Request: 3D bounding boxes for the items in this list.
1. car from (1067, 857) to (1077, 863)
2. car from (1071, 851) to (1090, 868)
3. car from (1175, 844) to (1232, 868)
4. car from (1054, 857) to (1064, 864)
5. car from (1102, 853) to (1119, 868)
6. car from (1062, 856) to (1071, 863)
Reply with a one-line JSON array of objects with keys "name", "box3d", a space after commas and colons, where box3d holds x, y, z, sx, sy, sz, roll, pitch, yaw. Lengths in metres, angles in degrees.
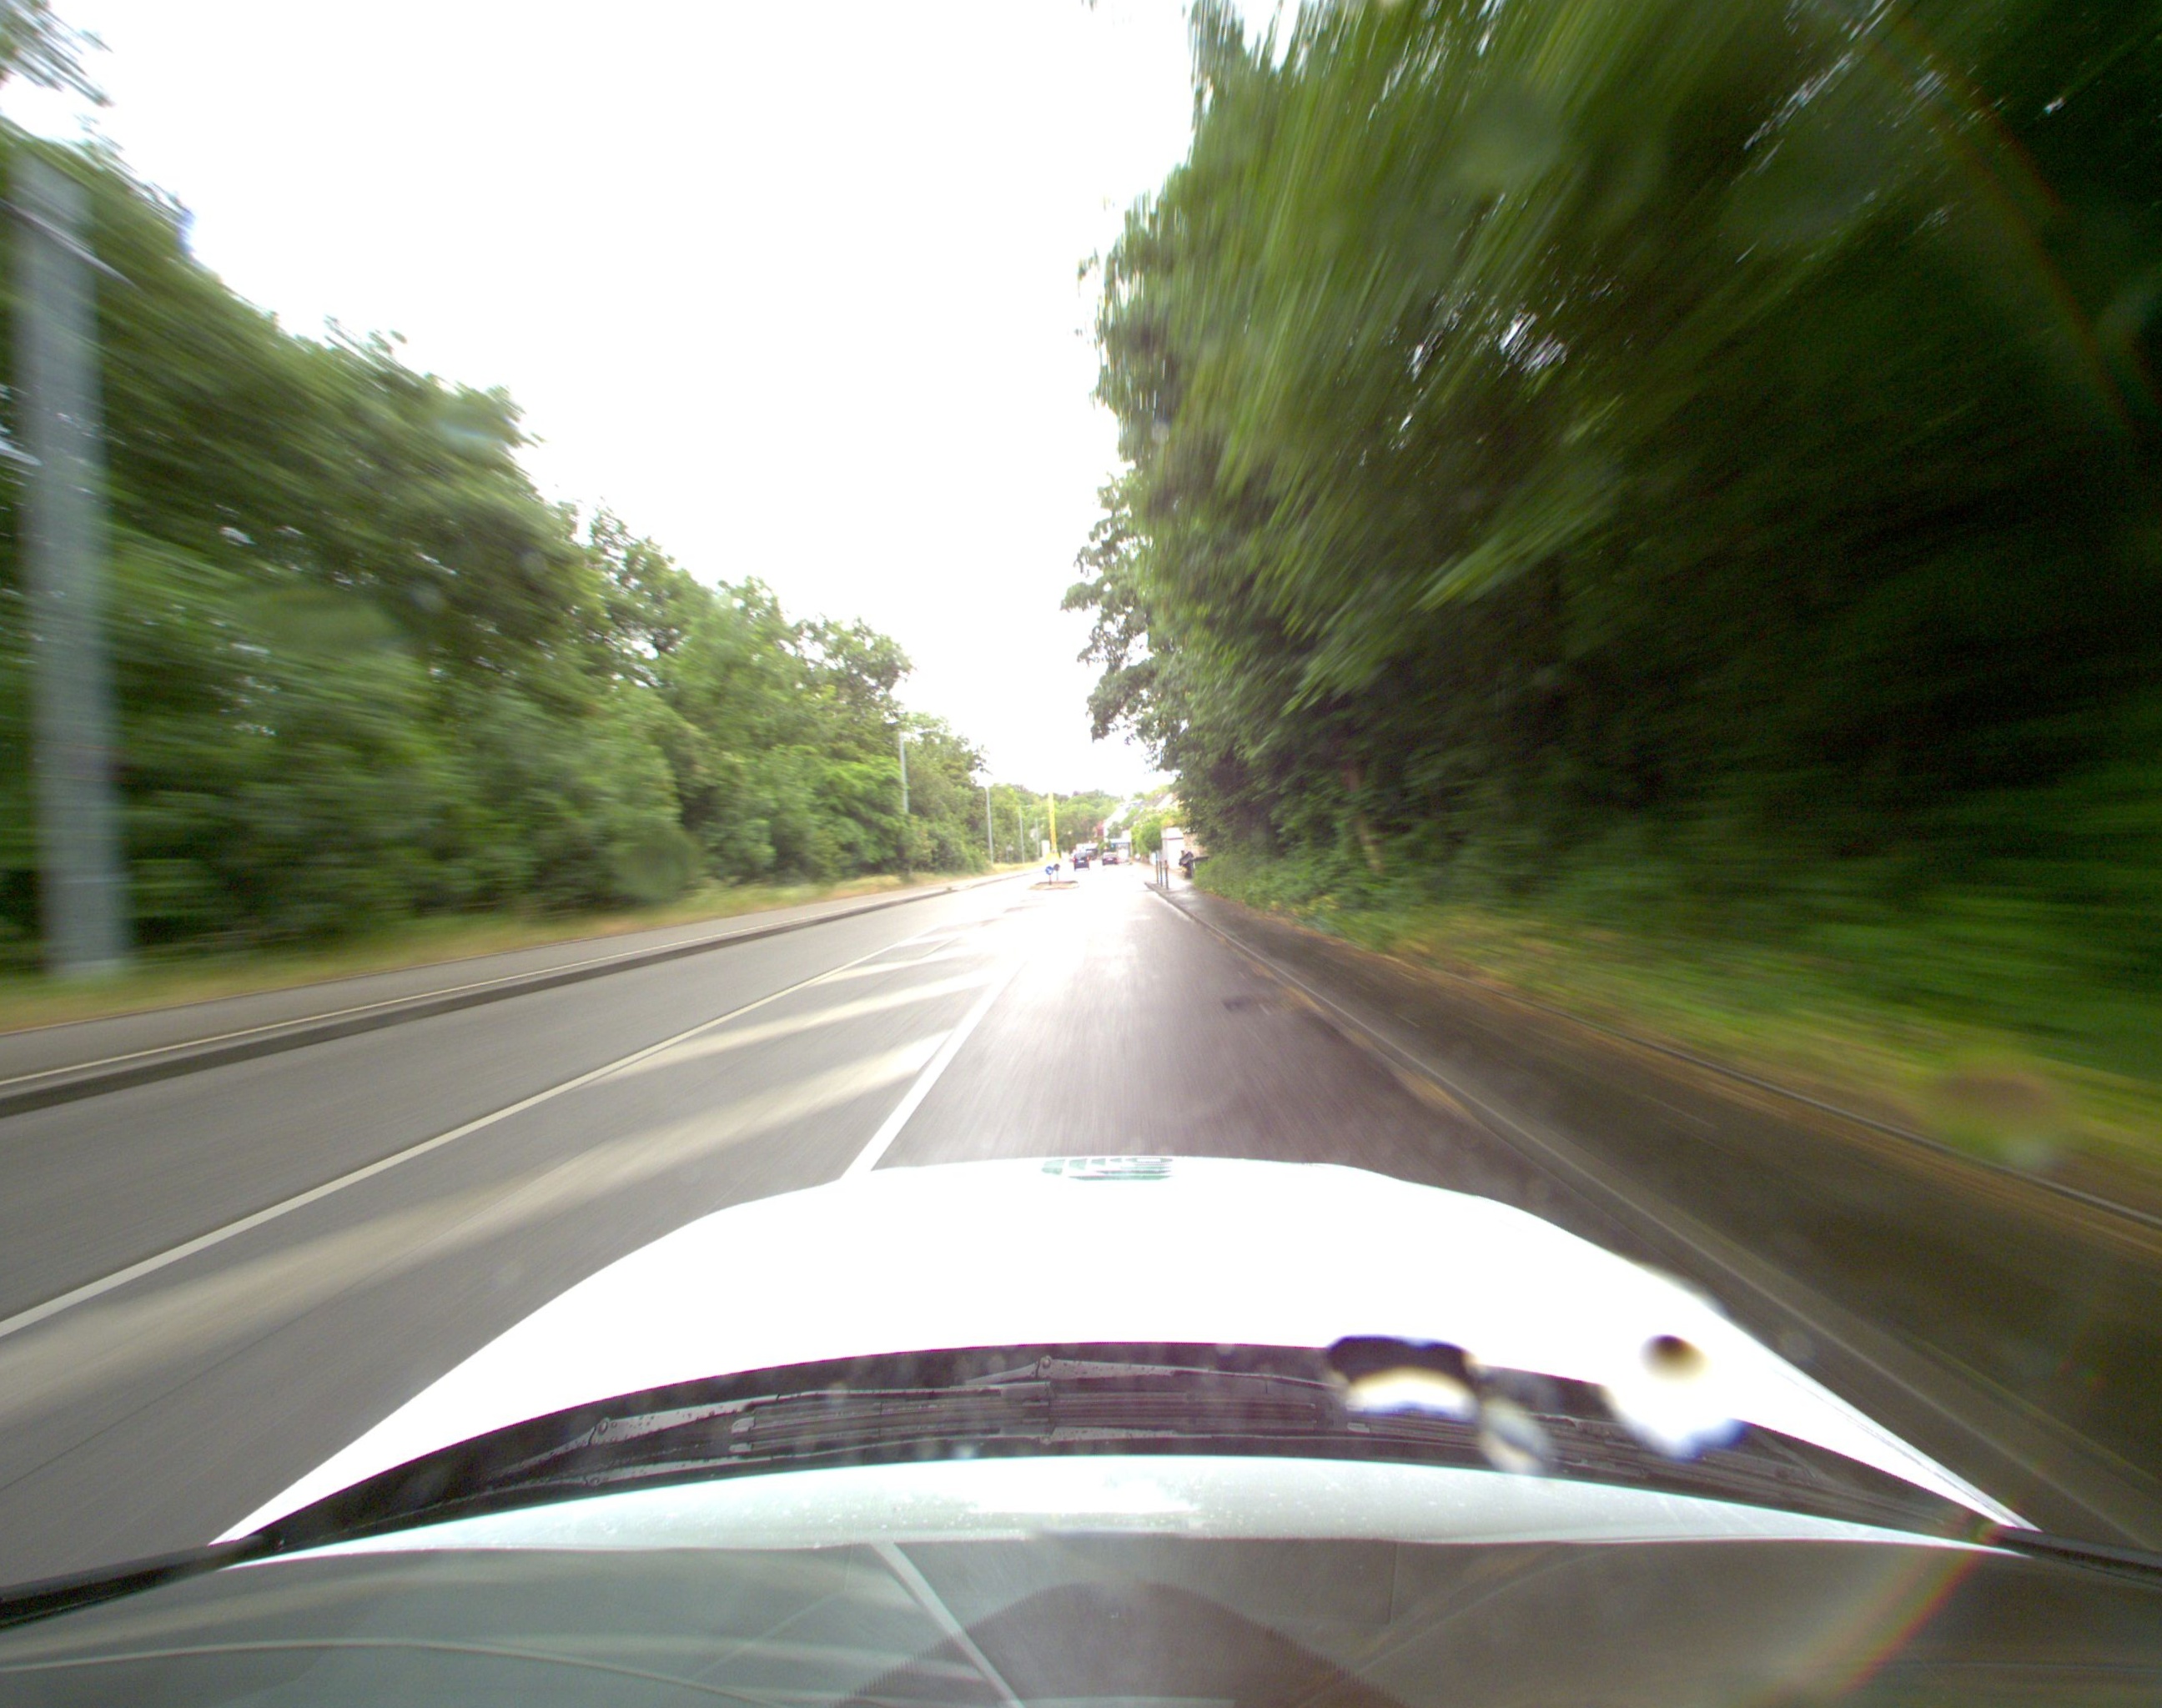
[{"name": "car", "box3d": [-2.300, 1.498, 203.892, 1.741, 1.552, 3.839, -2, 0, -12]}, {"name": "car", "box3d": [-0.049, 0.541, 82.497, 1.661, 1.594, 3.684, -2, 0, 2]}, {"name": "car", "box3d": [8.642, 0.144, 57.626, 3.757, 1.552, 1.609, -2, 0, 0]}, {"name": "car", "box3d": [-5.859, 1.720, 215.602, 1.741, 1.552, 3.839, -2, 0, -12]}, {"name": "car", "box3d": [3.616, 0.763, 98.552, 1.986, 1.772, 4.116, -1, 0, 2]}, {"name": "car", "box3d": [-3.728, 1.417, 209.178, 1.741, 1.552, 3.839, -1, -1, -12]}]
